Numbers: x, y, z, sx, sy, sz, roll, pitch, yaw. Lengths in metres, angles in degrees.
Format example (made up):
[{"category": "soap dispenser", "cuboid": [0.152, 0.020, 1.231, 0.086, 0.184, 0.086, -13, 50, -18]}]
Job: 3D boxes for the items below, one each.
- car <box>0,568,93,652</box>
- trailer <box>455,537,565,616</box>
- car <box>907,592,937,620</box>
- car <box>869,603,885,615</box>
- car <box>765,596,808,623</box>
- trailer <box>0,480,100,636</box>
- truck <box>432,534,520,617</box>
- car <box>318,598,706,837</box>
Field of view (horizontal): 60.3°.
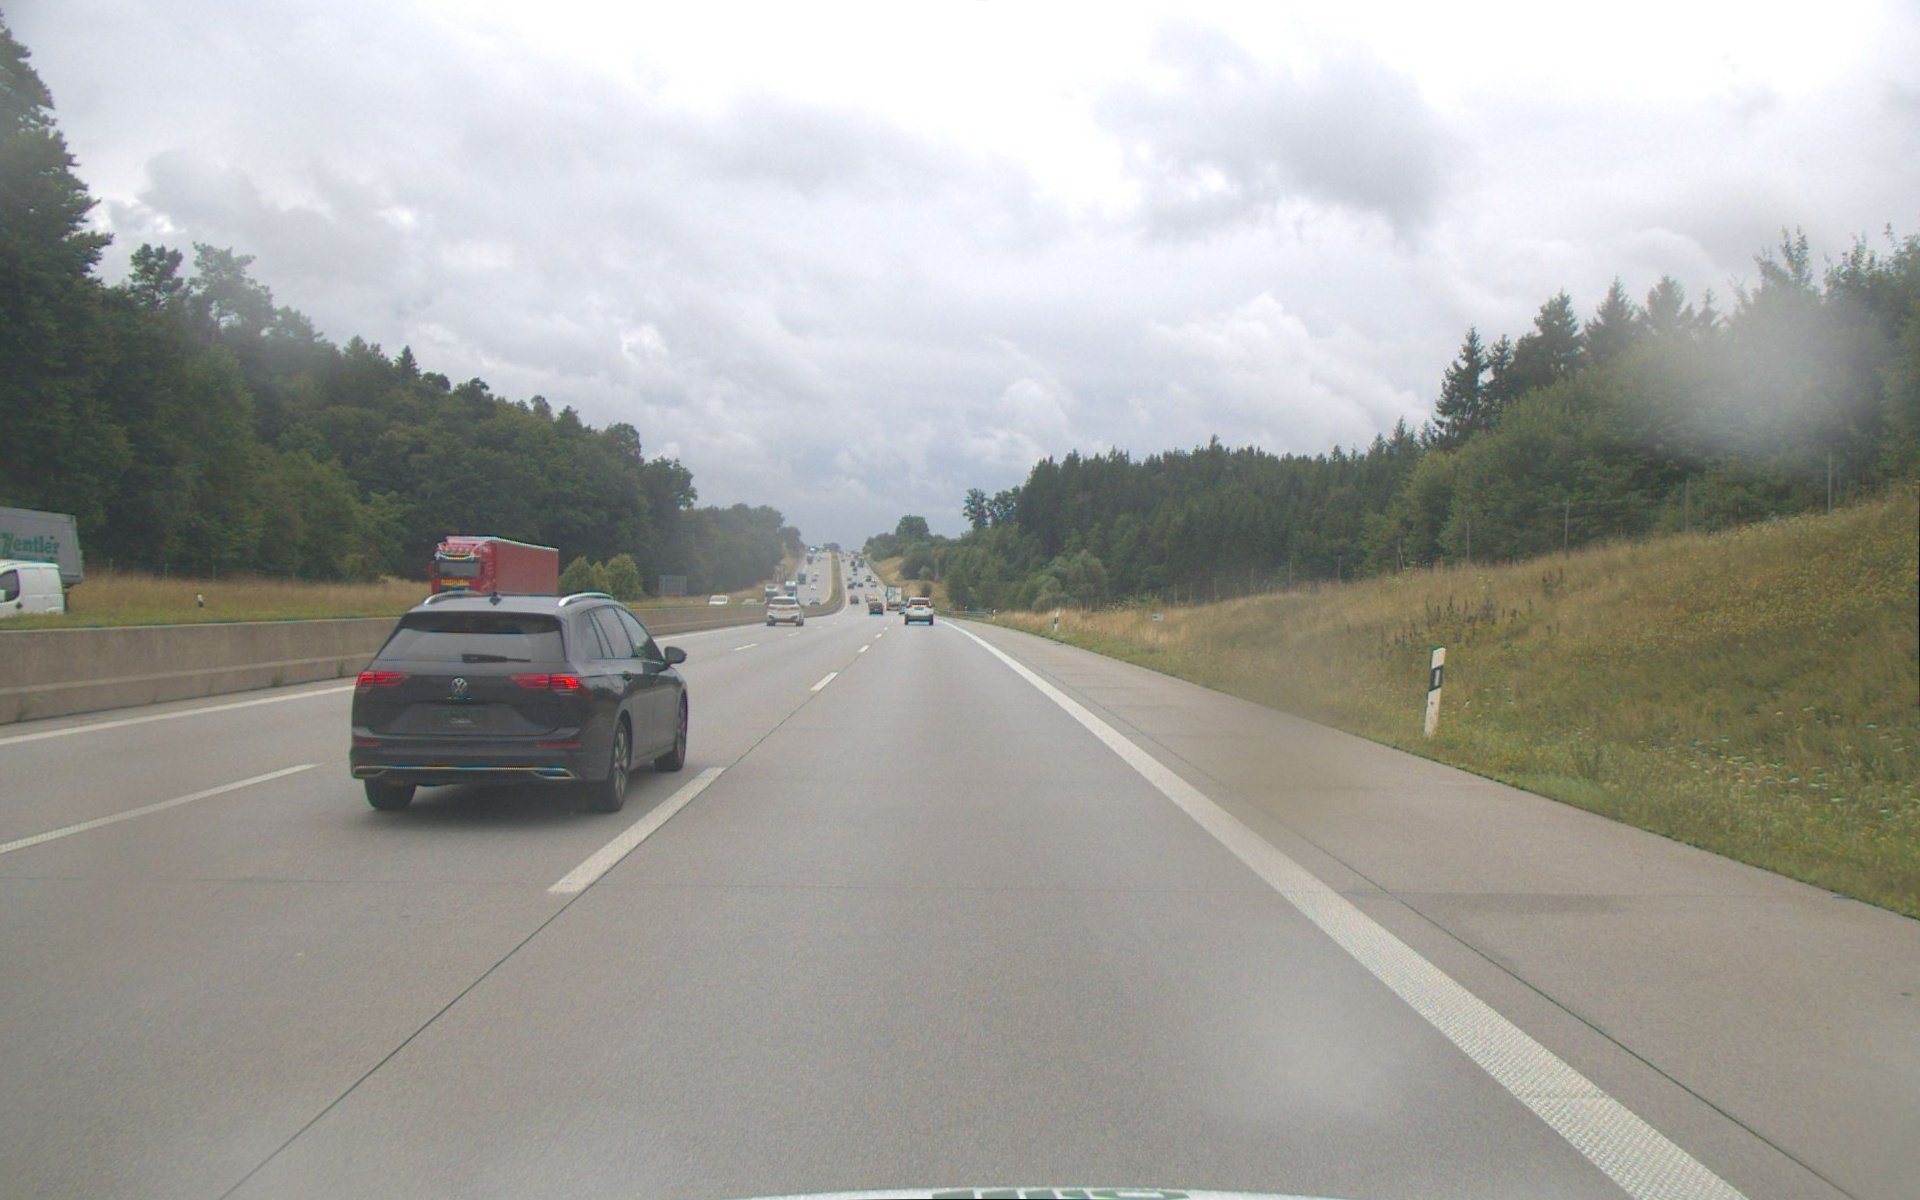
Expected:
[{"category": "car", "cuboid": [-19.440, 0.173, 33.149, 1.744, 1.627, 4.560, 1, 0, -1]}, {"category": "trailer", "cuboid": [-24.671, -1.236, 91.568, 2.555, 4.013, 14.373, 1, 0, -2]}, {"category": "car", "cuboid": [-2.358, 0.370, 102.064, 1.788, 1.684, 3.984, 1, 0, -1]}, {"category": "car", "cuboid": [-10.762, 1.122, 214.165, 1.897, 1.399, 4.591, 1, 1, -4]}, {"category": "car", "cuboid": [-9.267, 0.506, 88.626, 1.908, 1.379, 4.258, 1, 0, -1]}, {"category": "trailer", "cuboid": [-24.447, -1.035, 39.990, 2.747, 3.765, 9.010, 1, 0, -2]}, {"category": "truck", "cuboid": [-24.429, -1.201, 83.752, 2.501, 3.996, 6.945, 1, 0, -2]}, {"category": "car", "cuboid": [-3.087, 0.717, 12.377, 1.717, 1.422, 4.483, 1, 0, -1]}]
